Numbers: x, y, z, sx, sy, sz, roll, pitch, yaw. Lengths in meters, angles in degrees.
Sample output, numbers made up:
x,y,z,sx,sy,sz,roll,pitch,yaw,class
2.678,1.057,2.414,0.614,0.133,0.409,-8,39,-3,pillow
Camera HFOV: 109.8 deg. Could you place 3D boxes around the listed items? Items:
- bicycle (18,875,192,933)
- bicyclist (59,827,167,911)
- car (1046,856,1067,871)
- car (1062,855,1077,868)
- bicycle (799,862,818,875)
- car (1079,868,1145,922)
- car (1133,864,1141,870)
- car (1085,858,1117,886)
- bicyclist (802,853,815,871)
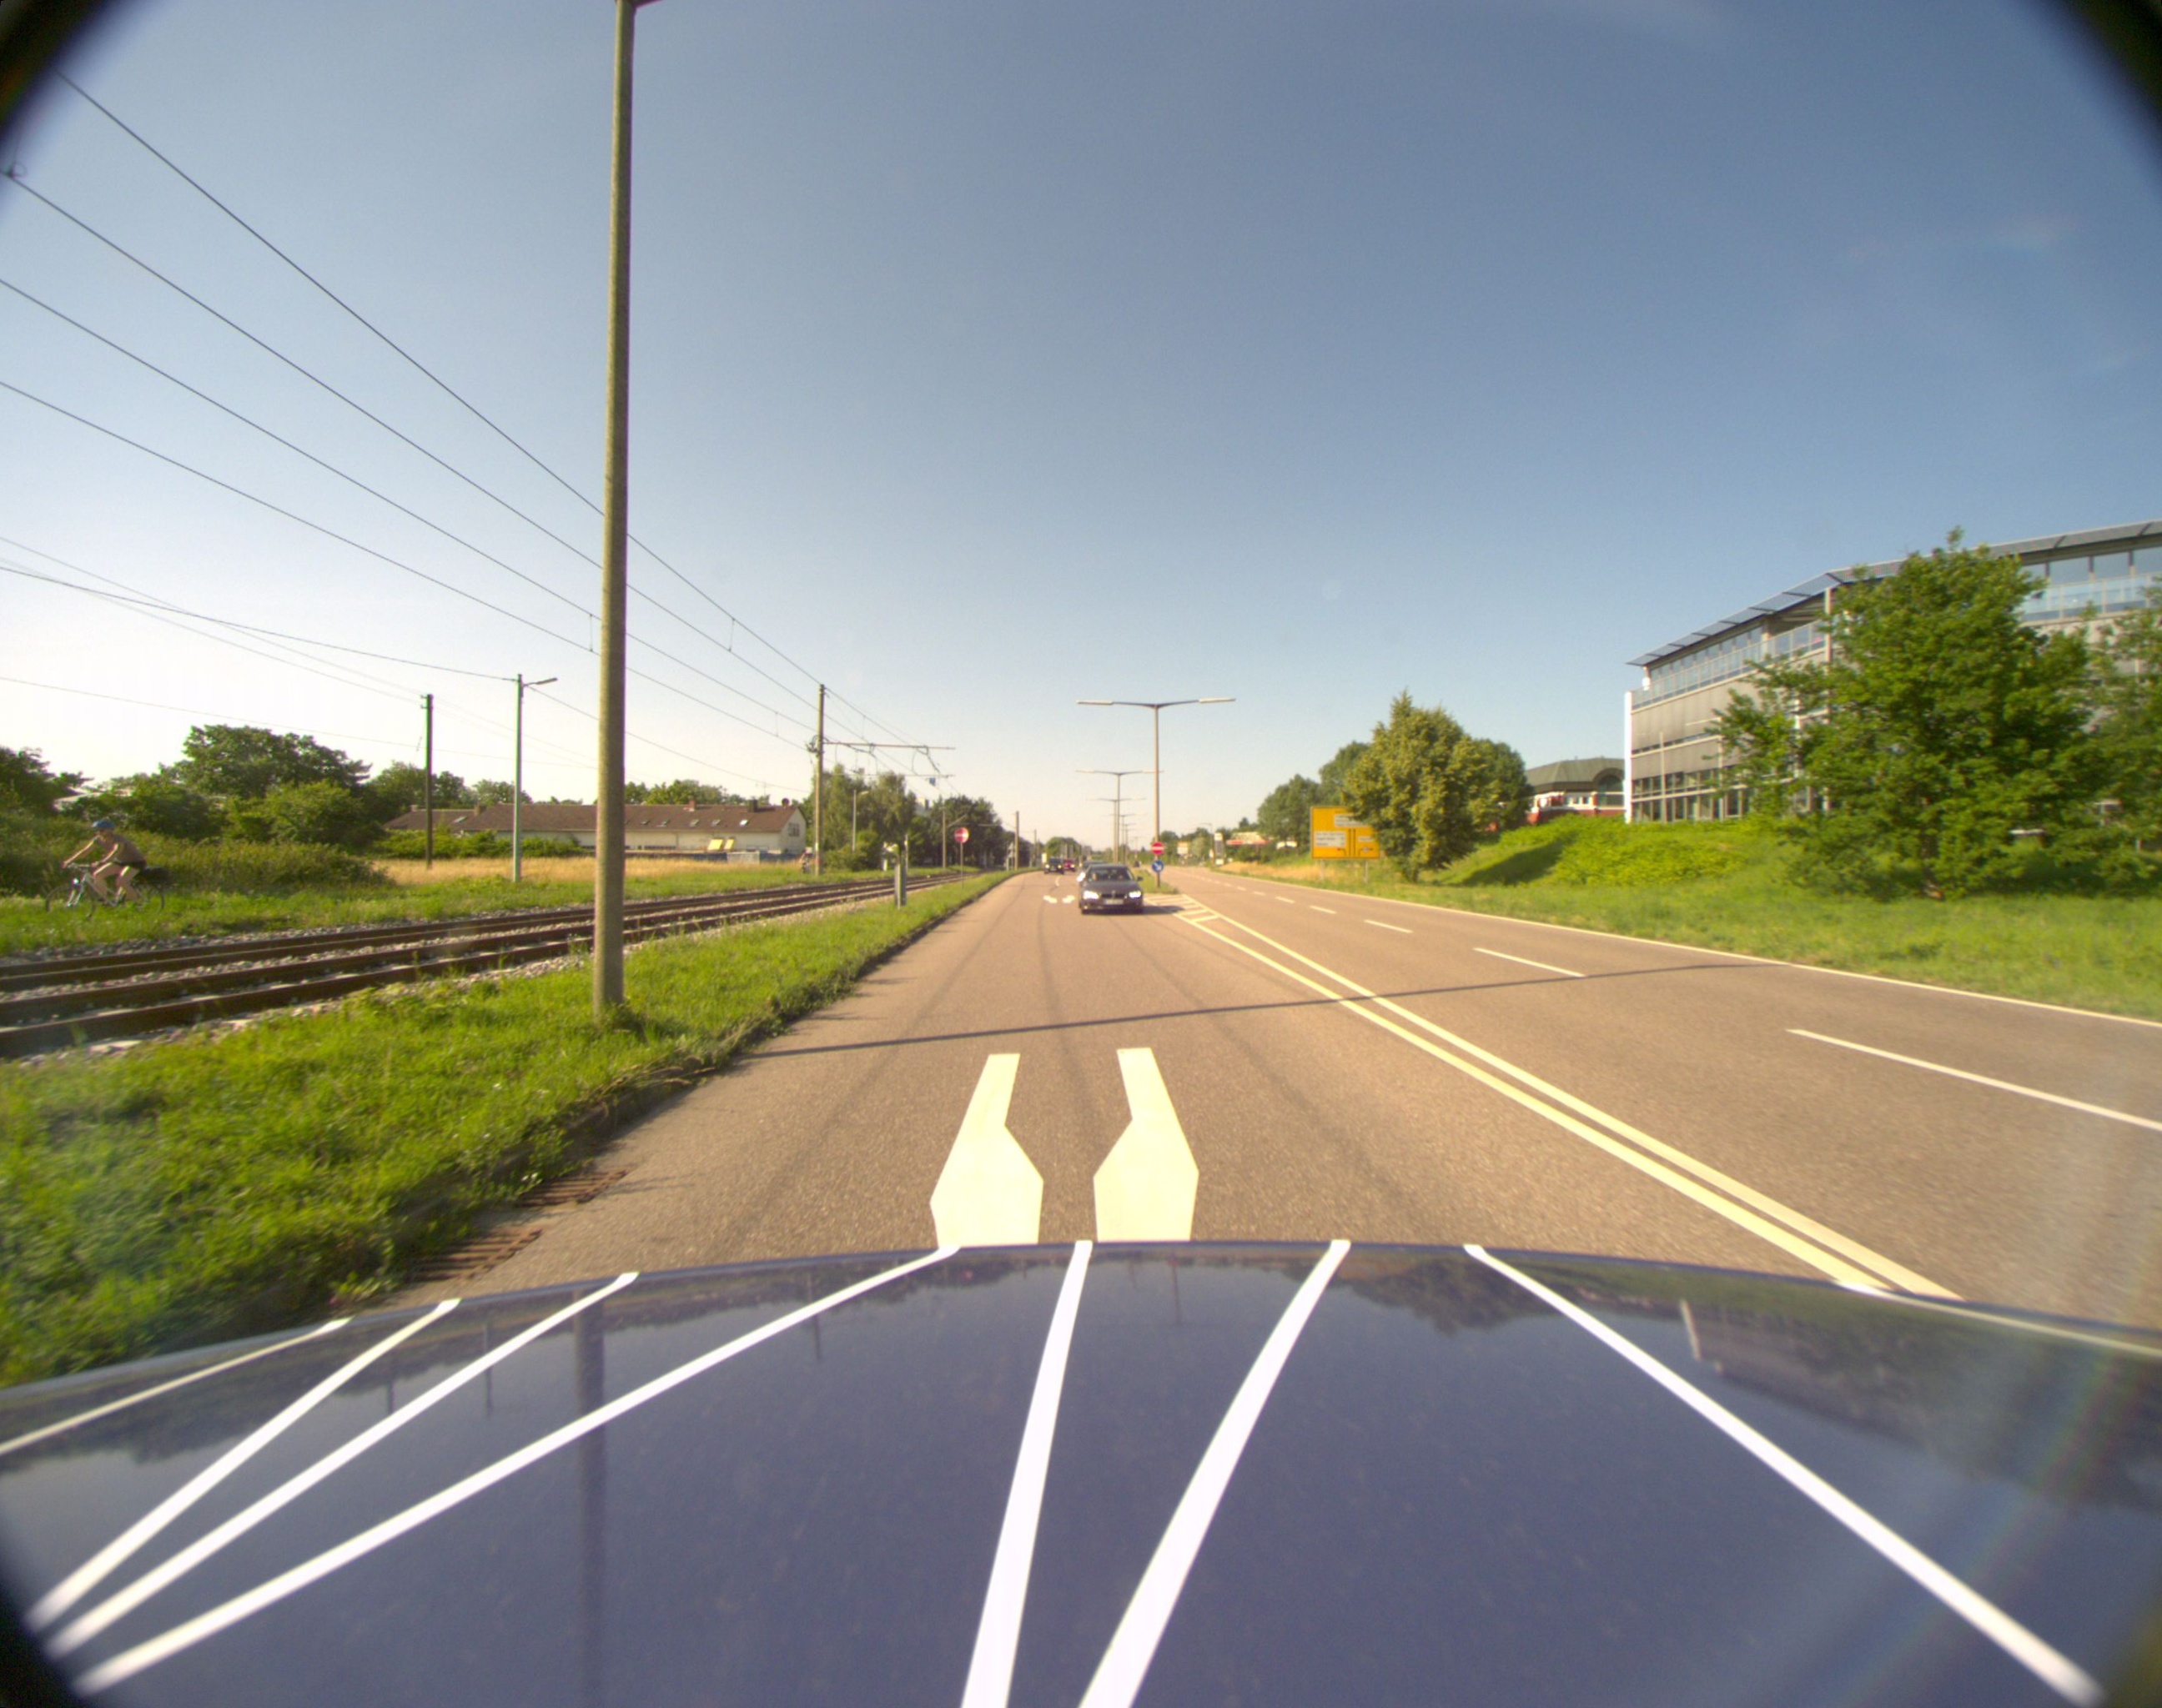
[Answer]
x,y,z,sx,sy,sz,roll,pitch,yaw,class
-16.944,0.843,13.273,0.644,0.904,1.844,-1,0,1,bicycle
-16.953,0.264,13.330,0.631,1.414,0.962,-1,0,1,bicyclist
-2.383,0.962,74.655,1.847,1.347,4.155,-2,-1,2,car
-1.344,0.929,91.378,1.607,1.504,4.269,-2,-1,2,car
-19.325,1.032,53.905,0.644,0.904,1.814,-1,-1,1,bicycle
0.863,1.180,23.001,1.747,1.444,3.947,-1,-1,-1,car
14.532,3.371,197.719,1.563,1.369,3.384,-2,1,-4,car
1.112,1.030,43.692,1.710,1.443,4.591,-1,-1,0,car
-19.333,0.564,53.908,0.641,1.226,0.791,-1,0,1,bicyclist
